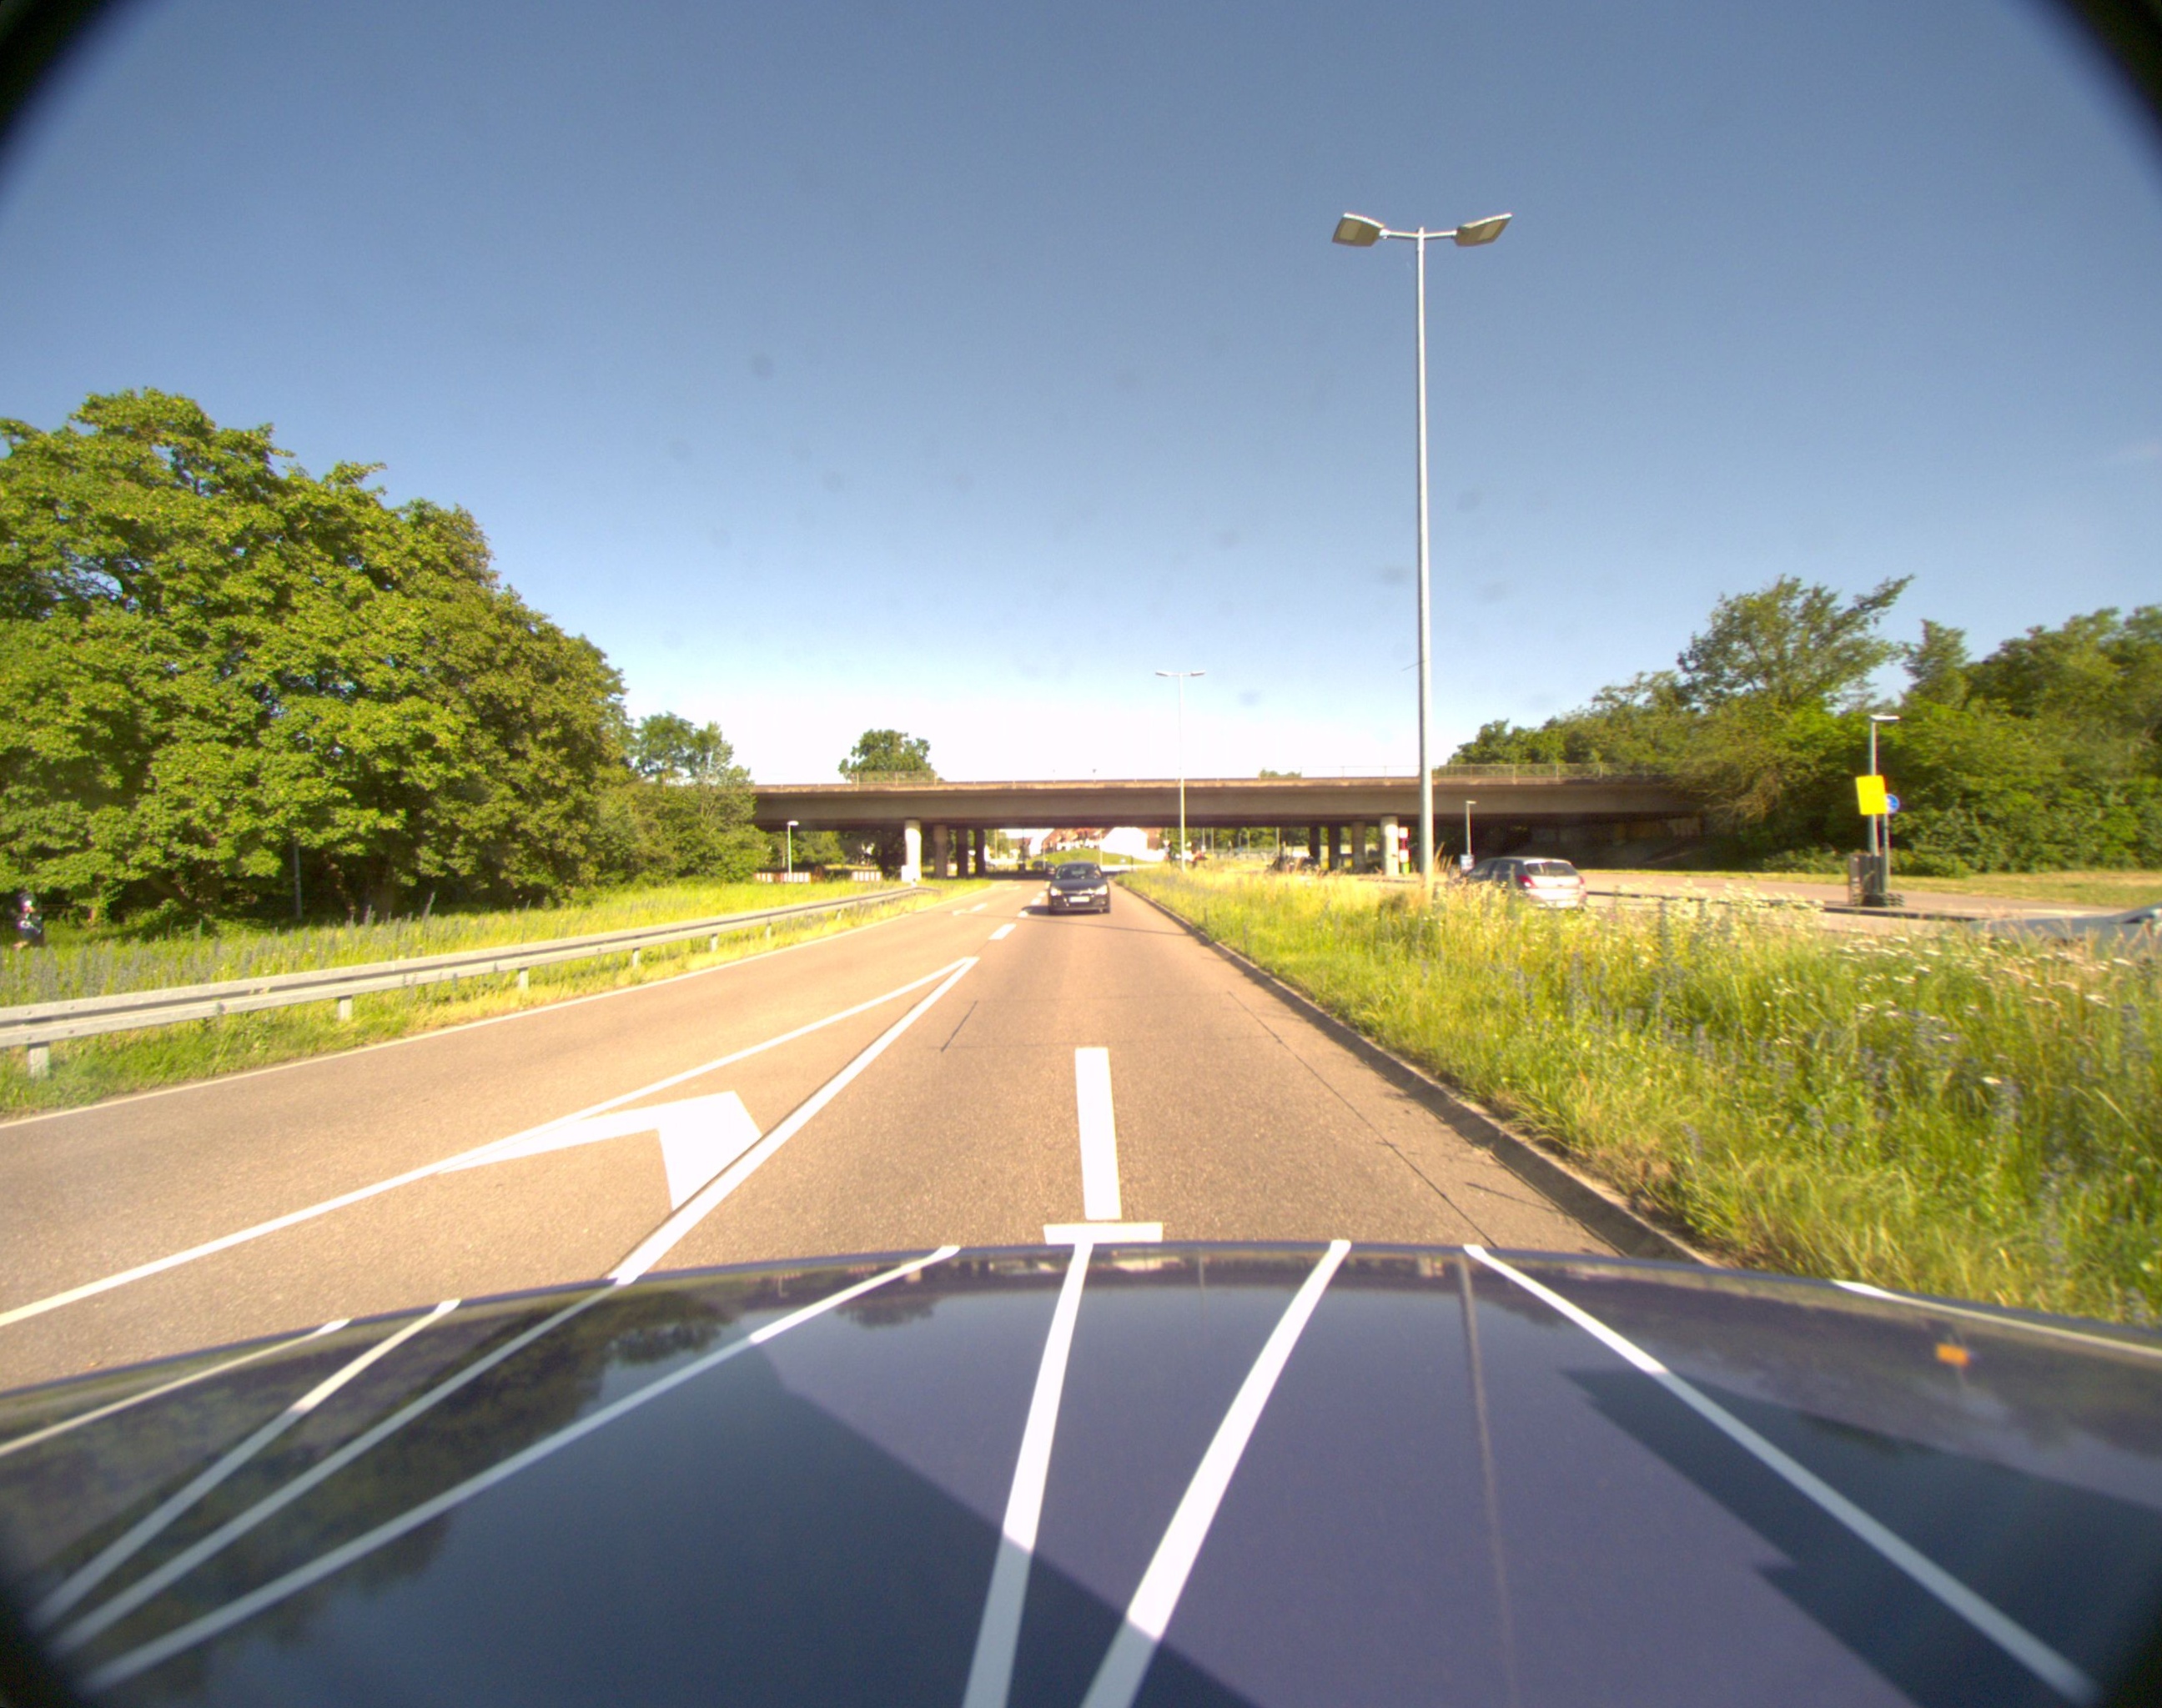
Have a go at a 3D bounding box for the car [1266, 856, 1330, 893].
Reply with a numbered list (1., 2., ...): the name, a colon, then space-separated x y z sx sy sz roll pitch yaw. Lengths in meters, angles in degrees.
1. car: 9.581 0.852 33.804 1.637 1.521 3.592 -1 0 -3

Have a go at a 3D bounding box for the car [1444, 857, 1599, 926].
1. car: 10.918 0.861 19.142 1.637 1.521 3.591 -1 0 -4

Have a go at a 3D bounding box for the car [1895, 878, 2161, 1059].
1. car: 9.894 0.991 6.373 1.637 1.436 4.102 -1 0 -3

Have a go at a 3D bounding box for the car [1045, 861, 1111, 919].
1. car: -0.016 0.974 22.145 1.706 1.446 3.959 -2 0 2

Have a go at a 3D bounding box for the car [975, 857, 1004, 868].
1. car: -13.243 1.188 110.067 4.030 1.528 1.832 -1 0 37

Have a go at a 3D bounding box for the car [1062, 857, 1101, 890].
1. car: 0.058 0.955 38.849 1.827 1.528 4.042 -1 0 1
